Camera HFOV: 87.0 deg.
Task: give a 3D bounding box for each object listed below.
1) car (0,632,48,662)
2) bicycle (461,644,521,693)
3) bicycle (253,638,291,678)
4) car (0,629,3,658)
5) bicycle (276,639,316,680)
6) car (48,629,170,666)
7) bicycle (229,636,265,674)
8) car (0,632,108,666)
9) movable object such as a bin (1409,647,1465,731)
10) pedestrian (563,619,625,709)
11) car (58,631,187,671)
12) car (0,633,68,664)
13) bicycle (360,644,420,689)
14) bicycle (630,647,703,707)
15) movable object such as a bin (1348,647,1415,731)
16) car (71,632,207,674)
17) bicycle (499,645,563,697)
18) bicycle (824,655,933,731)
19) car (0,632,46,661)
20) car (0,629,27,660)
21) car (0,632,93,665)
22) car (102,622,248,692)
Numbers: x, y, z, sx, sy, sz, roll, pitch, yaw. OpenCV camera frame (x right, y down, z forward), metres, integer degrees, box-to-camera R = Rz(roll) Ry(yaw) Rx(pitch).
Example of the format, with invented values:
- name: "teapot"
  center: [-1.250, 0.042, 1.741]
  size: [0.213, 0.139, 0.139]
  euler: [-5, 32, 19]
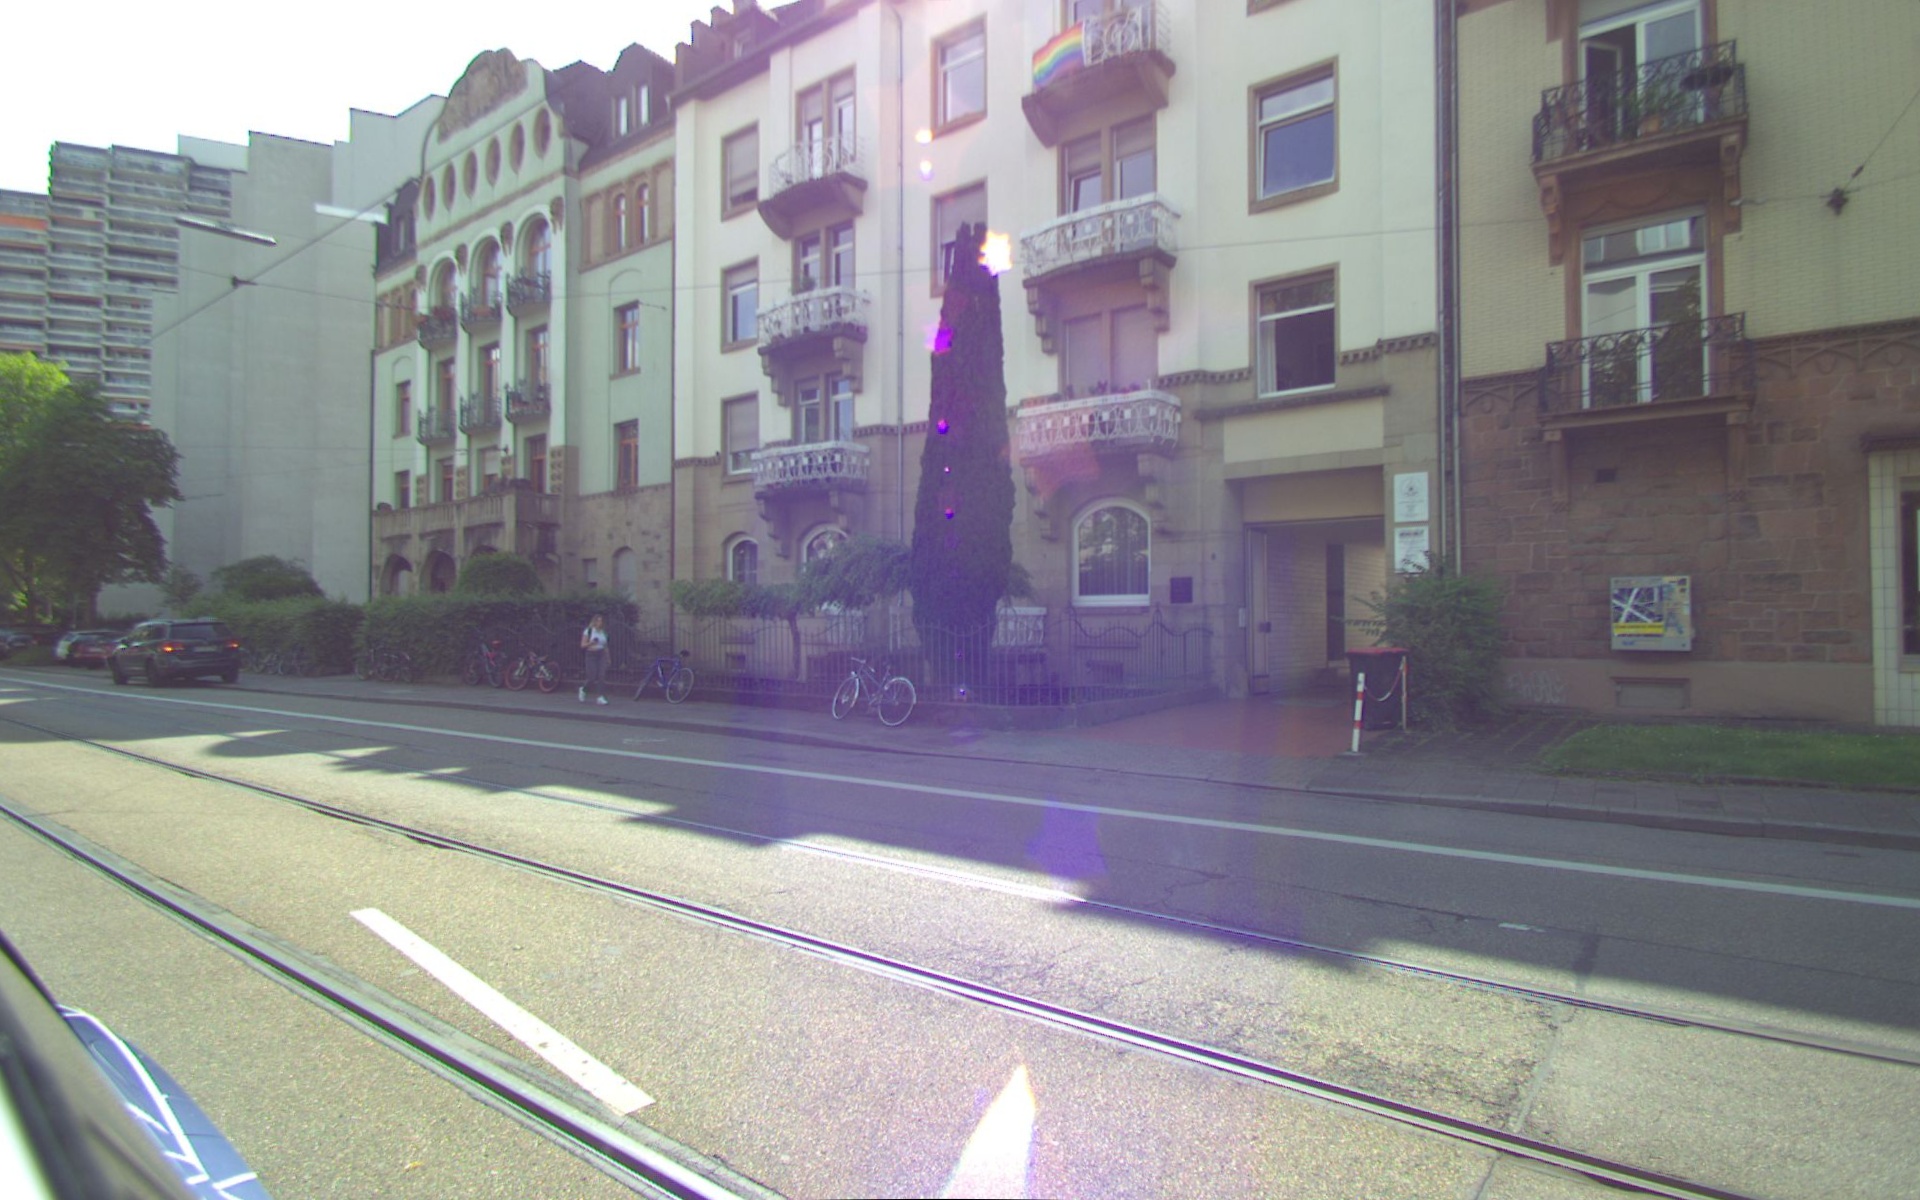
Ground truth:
- name: "car"
  center: [-49.736, 2.442, 52.188]
  size: [3.938, 1.519, 2.003]
  euler: [1, -2, -42]
- name: "bicycle"
  center: [-10.252, 1.473, 22.100]
  size: [1.785, 1.003, 0.462]
  euler: [-2, -2, 40]
- name: "bicycle"
  center: [-20.567, 1.711, 30.238]
  size: [1.785, 1.144, 0.462]
  euler: [-2, -2, 40]
- name: "car"
  center: [-58.512, 2.565, 58.931]
  size: [3.938, 1.695, 2.003]
  euler: [1, -2, -42]
- name: "bicycle"
  center: [-19.049, 1.691, 29.027]
  size: [1.785, 1.144, 0.462]
  euler: [-2, -2, 40]
- name: "car"
  center: [-36.646, 2.022, 43.633]
  size: [3.938, 1.519, 2.003]
  euler: [1, -2, -42]
- name: "bicycle"
  center: [-22.214, 1.709, 31.538]
  size: [1.785, 1.144, 0.462]
  euler: [-2, -2, 40]
- name: "car"
  center: [-41.939, 2.232, 46.731]
  size: [3.938, 1.519, 2.003]
  euler: [1, -2, -42]
- name: "movable object such as a bin"
  center: [6.104, 1.126, 12.971]
  size: [0.532, 1.037, 0.475]
  euler: [-1, -2, 11]
- name: "pedestrian"
  center: [-6.501, 1.112, 17.998]
  size: [0.764, 1.553, 0.749]
  euler: [-2, -2, 39]
- name: "car"
  center: [-34.053, 2.026, 41.204]
  size: [3.938, 1.519, 2.003]
  euler: [1, -2, -42]
- name: "car"
  center: [-47.054, 2.407, 50.390]
  size: [3.938, 1.519, 2.003]
  euler: [1, -2, -42]
- name: "bicycle"
  center: [-13.712, 1.583, 24.333]
  size: [1.979, 1.003, 0.597]
  euler: [-2, -2, 40]
- name: "bicycle"
  center: [-5.274, 1.357, 18.109]
  size: [0.461, 1.003, 1.788]
  euler: [1, -2, -44]
- name: "movable object such as a bin"
  center: [5.424, 1.135, 13.047]
  size: [0.697, 1.037, 0.475]
  euler: [-1, -2, 11]
- name: "car"
  center: [-31.409, 1.981, 38.762]
  size: [3.938, 1.519, 2.003]
  euler: [1, -2, -42]
- name: "bicycle"
  center: [-8.844, 1.437, 20.828]
  size: [1.785, 1.003, 0.462]
  euler: [-2, -2, 40]
- name: "bicycle"
  center: [-1.221, 1.321, 14.782]
  size: [0.461, 1.003, 1.980]
  euler: [1, -2, -42]
- name: "car"
  center: [-51.911, 2.515, 54.505]
  size: [3.938, 1.519, 2.003]
  euler: [1, -2, -42]
- name: "car"
  center: [-54.800, 2.499, 56.470]
  size: [3.938, 1.695, 2.003]
  euler: [1, -2, -42]
- name: "car"
  center: [-44.382, 2.312, 48.724]
  size: [3.938, 1.519, 2.003]
  euler: [1, -2, -42]
- name: "car"
  center: [-20.800, 1.457, 26.759]
  size: [4.393, 1.708, 1.899]
  euler: [-1, -2, 36]
